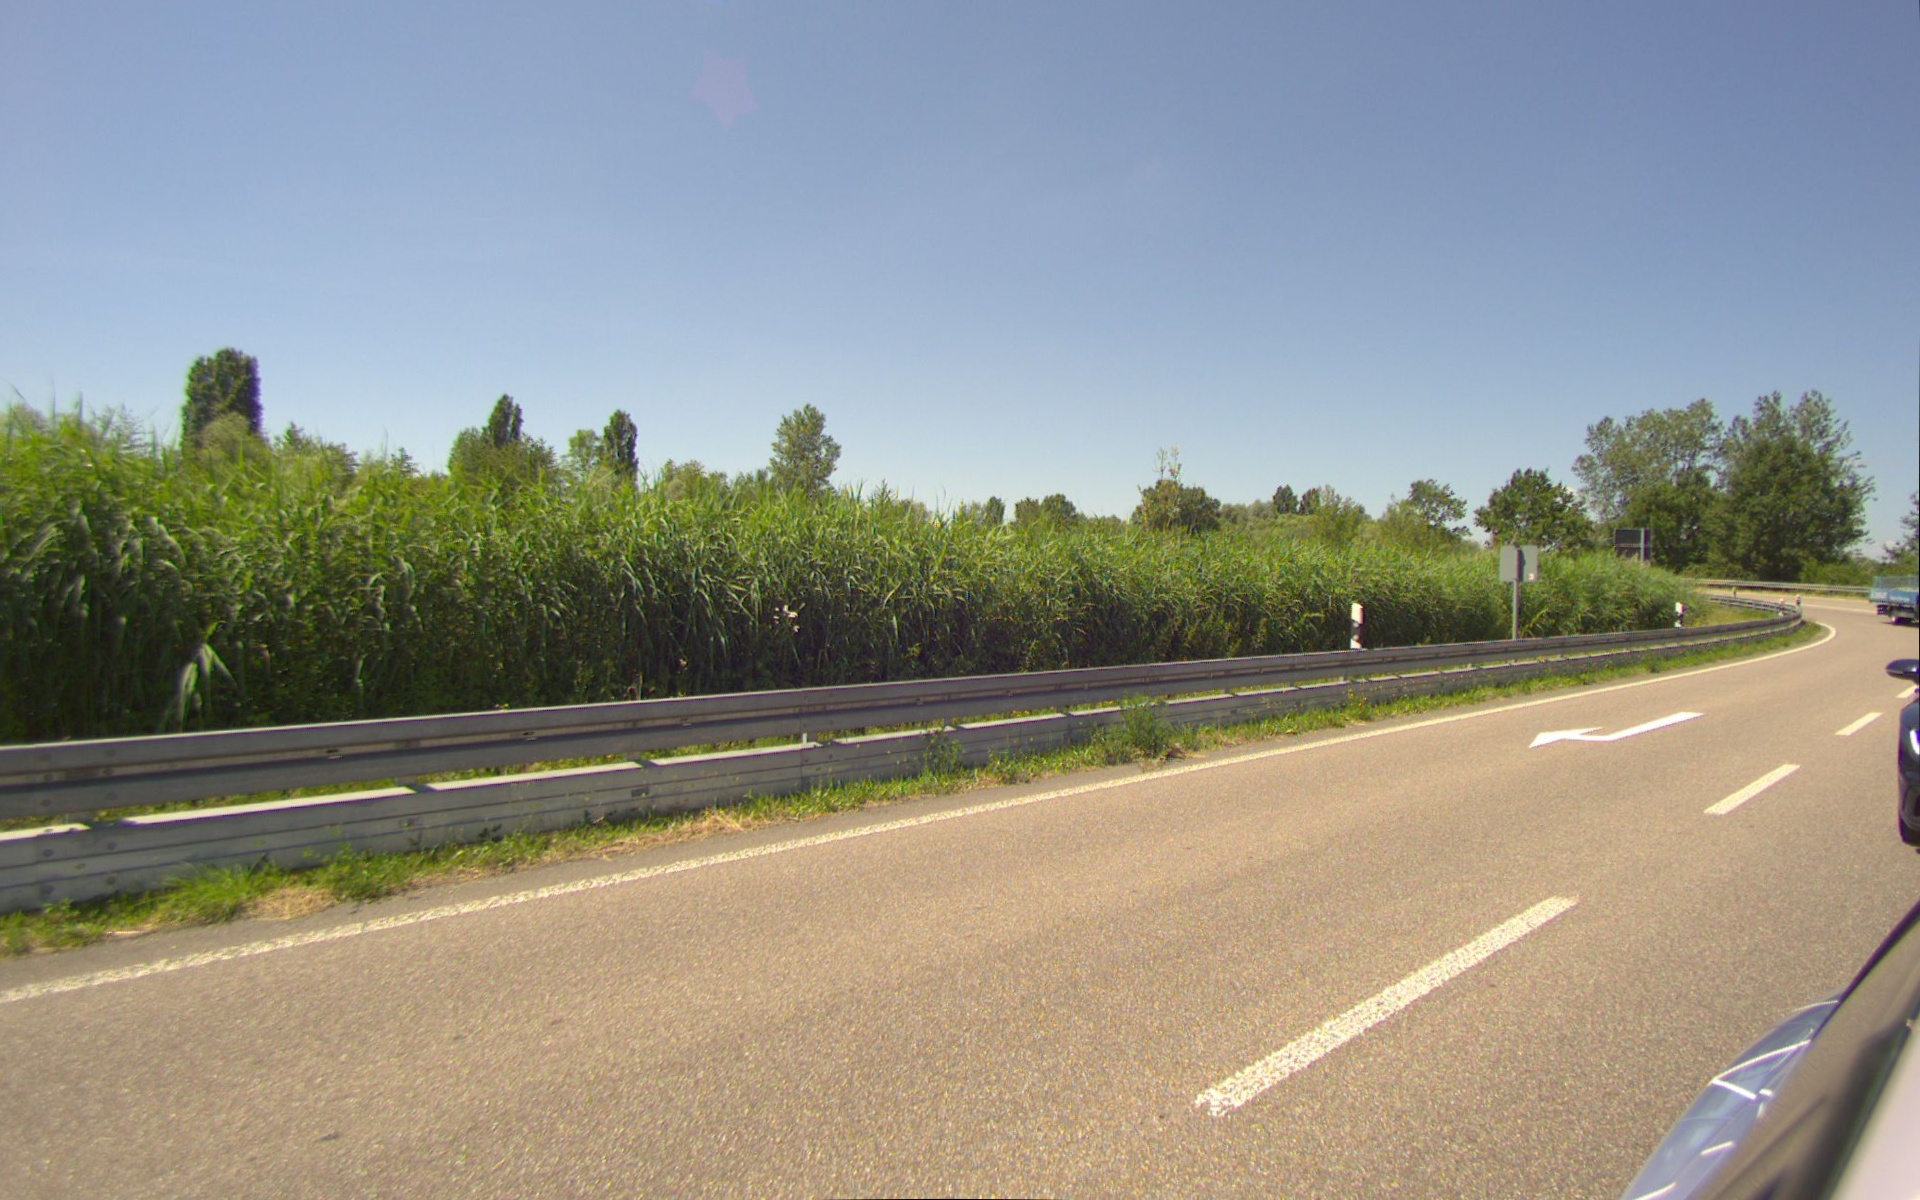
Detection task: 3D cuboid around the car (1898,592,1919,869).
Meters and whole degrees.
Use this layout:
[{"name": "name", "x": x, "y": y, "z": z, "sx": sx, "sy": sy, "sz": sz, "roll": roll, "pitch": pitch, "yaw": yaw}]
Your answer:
[{"name": "car", "x": 6.967, "y": 0.666, "z": 5.948, "sx": 3.931, "sy": 1.427, "sz": 1.759, "roll": -1, "pitch": 1, "yaw": -41}]

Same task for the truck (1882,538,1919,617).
[{"name": "truck", "x": 39.351, "y": -0.882, "z": 39.974, "sx": 2.557, "sy": 3.108, "sz": 8.980, "roll": 1, "pitch": 1, "yaw": 31}]
